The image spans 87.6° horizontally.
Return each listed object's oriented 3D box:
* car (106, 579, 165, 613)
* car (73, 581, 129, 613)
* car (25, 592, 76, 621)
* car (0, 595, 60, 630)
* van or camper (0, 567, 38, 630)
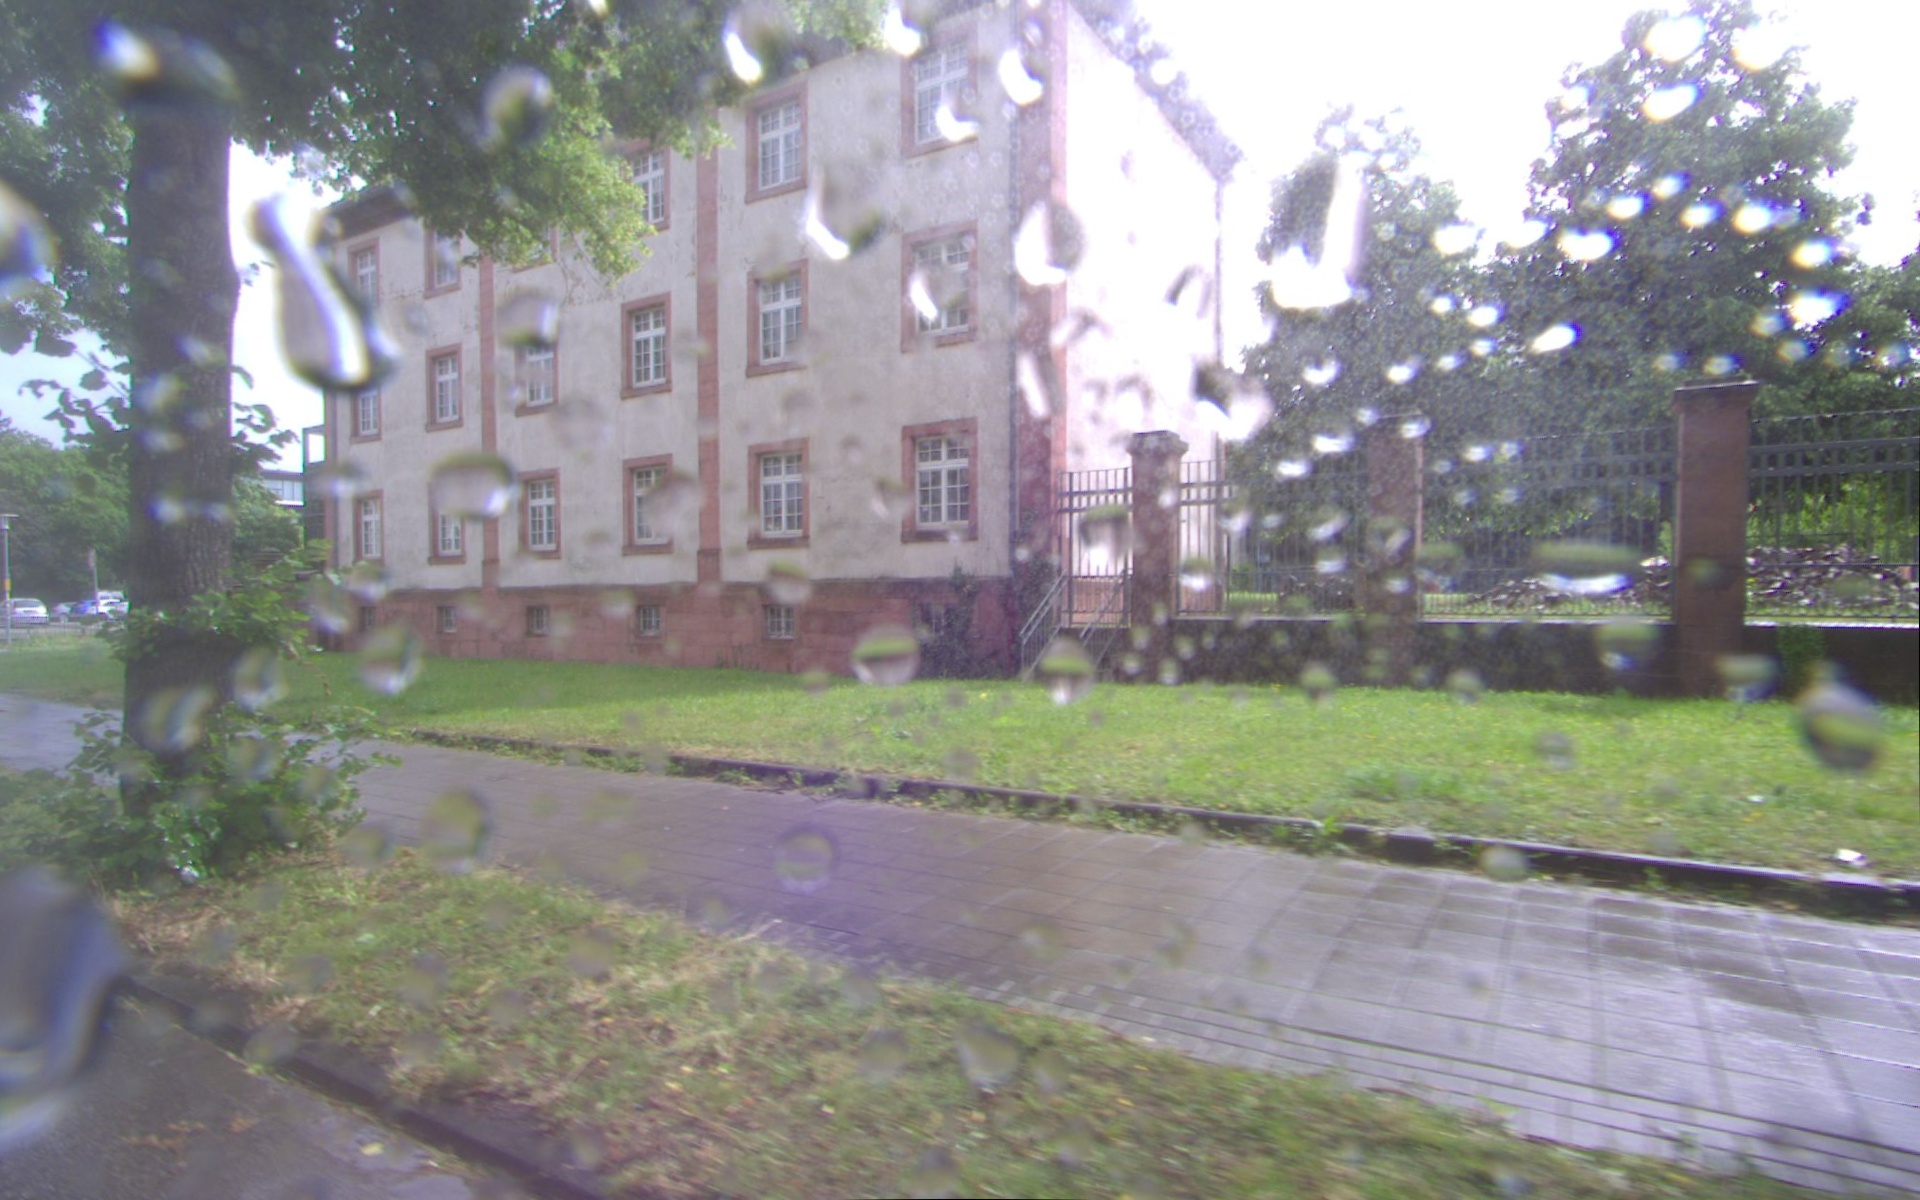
[{"bbox_3d":[-53.634,-0.258,65.124,3.947,2.042,1.986,0,3,36],"label":"car"},{"bbox_3d":[-58.194,-0.198,67.829,3.947,2.042,1.986,0,3,36],"label":"car"},{"bbox_3d":[-63.581,0.417,69.990,3.760,1.883,1.860,0,3,36],"label":"car"},{"bbox_3d":[-49.331,0.650,53.078,3.822,1.707,1.734,0,3,39],"label":"car"},{"bbox_3d":[-41.522,-0.038,41.062,2.136,2.630,5.023,0,1,31],"label":"van or camper"}]
